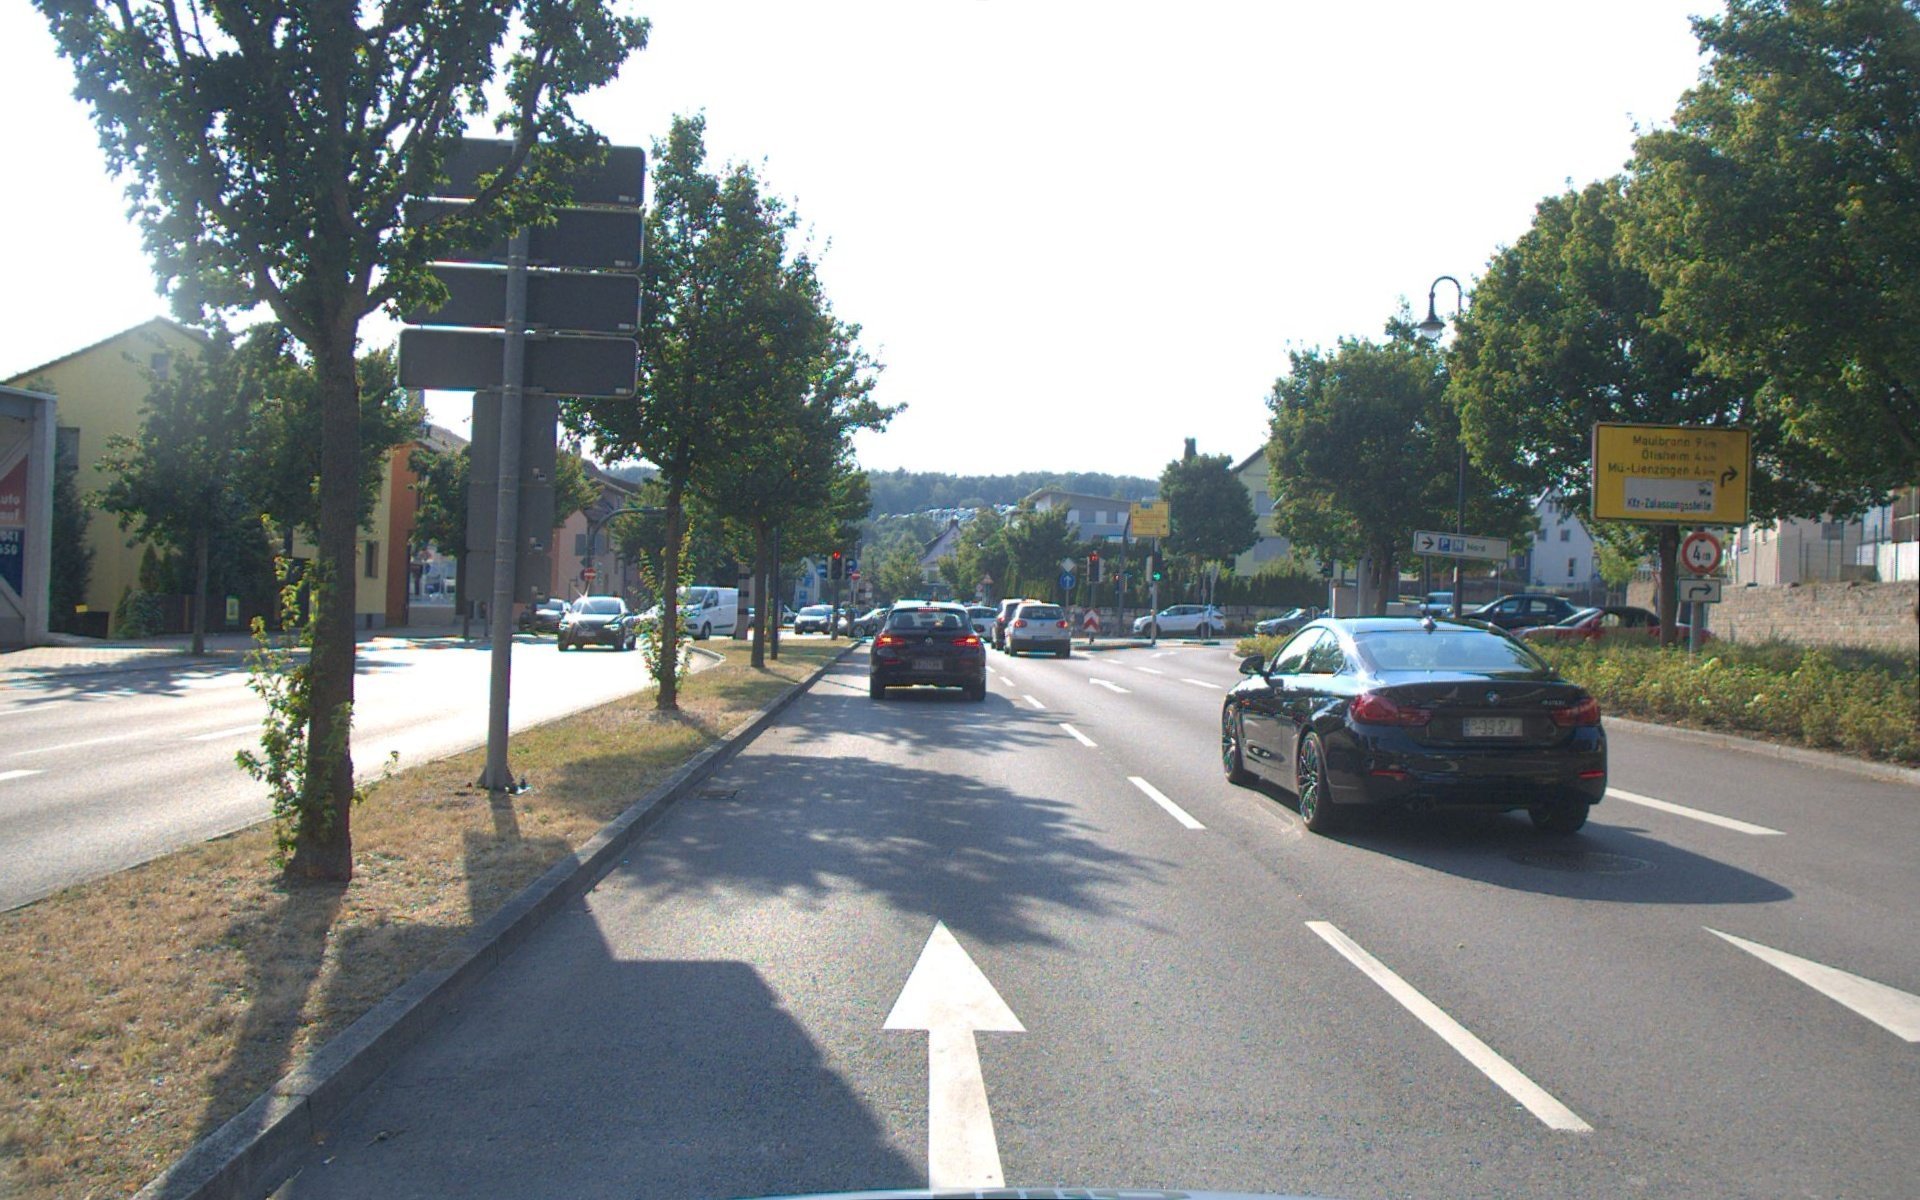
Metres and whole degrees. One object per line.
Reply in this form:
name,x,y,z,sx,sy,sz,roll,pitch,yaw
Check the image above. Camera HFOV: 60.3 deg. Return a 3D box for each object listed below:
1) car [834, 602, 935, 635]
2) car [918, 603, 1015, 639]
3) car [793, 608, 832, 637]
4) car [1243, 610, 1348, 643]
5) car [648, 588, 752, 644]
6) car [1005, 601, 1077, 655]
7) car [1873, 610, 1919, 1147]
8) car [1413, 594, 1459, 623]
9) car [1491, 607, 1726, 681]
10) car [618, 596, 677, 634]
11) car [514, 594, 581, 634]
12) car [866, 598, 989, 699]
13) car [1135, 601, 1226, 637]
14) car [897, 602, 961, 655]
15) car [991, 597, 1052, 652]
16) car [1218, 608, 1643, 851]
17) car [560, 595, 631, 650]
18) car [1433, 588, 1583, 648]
car,-3.614,0.864,78.633,4.612,1.488,1.687,1,0,-11
car,0.278,0.924,73.014,3.884,1.523,1.796,1,0,-20
car,-7.937,1.203,89.156,1.730,1.484,3.999,1,0,-1
car,15.549,1.225,76.706,4.385,1.372,1.782,1,3,-12
car,-9.576,0.583,61.407,1.784,1.957,4.947,1,0,18
car,2.301,0.779,47.762,1.779,1.471,4.346,1,0,-1
car,3.511,0.766,2.690,1.708,1.467,4.166,1,0,-1
car,26.100,0.486,90.674,1.824,1.511,4.657,1,0,23
car,12.384,0.816,31.797,3.902,1.294,1.855,1,0,10
car,-13.148,0.640,69.820,1.770,1.523,4.244,1,0,-2
car,-17.748,0.606,71.338,1.805,1.579,4.000,3,0,0
car,-0.504,0.706,26.053,1.754,1.439,4.346,1,0,-1
car,10.984,0.940,82.693,4.414,1.732,1.898,0,0,4
car,-0.914,0.811,48.907,1.779,1.476,4.240,1,0,-1
car,2.002,0.785,54.640,1.779,1.695,4.346,1,0,-1
car,3.131,0.780,11.973,1.779,1.413,4.346,1,0,-1
car,-10.229,0.608,46.607,1.737,1.476,4.098,1,0,-10
car,15.877,0.516,48.111,3.902,1.636,1.855,1,0,10
